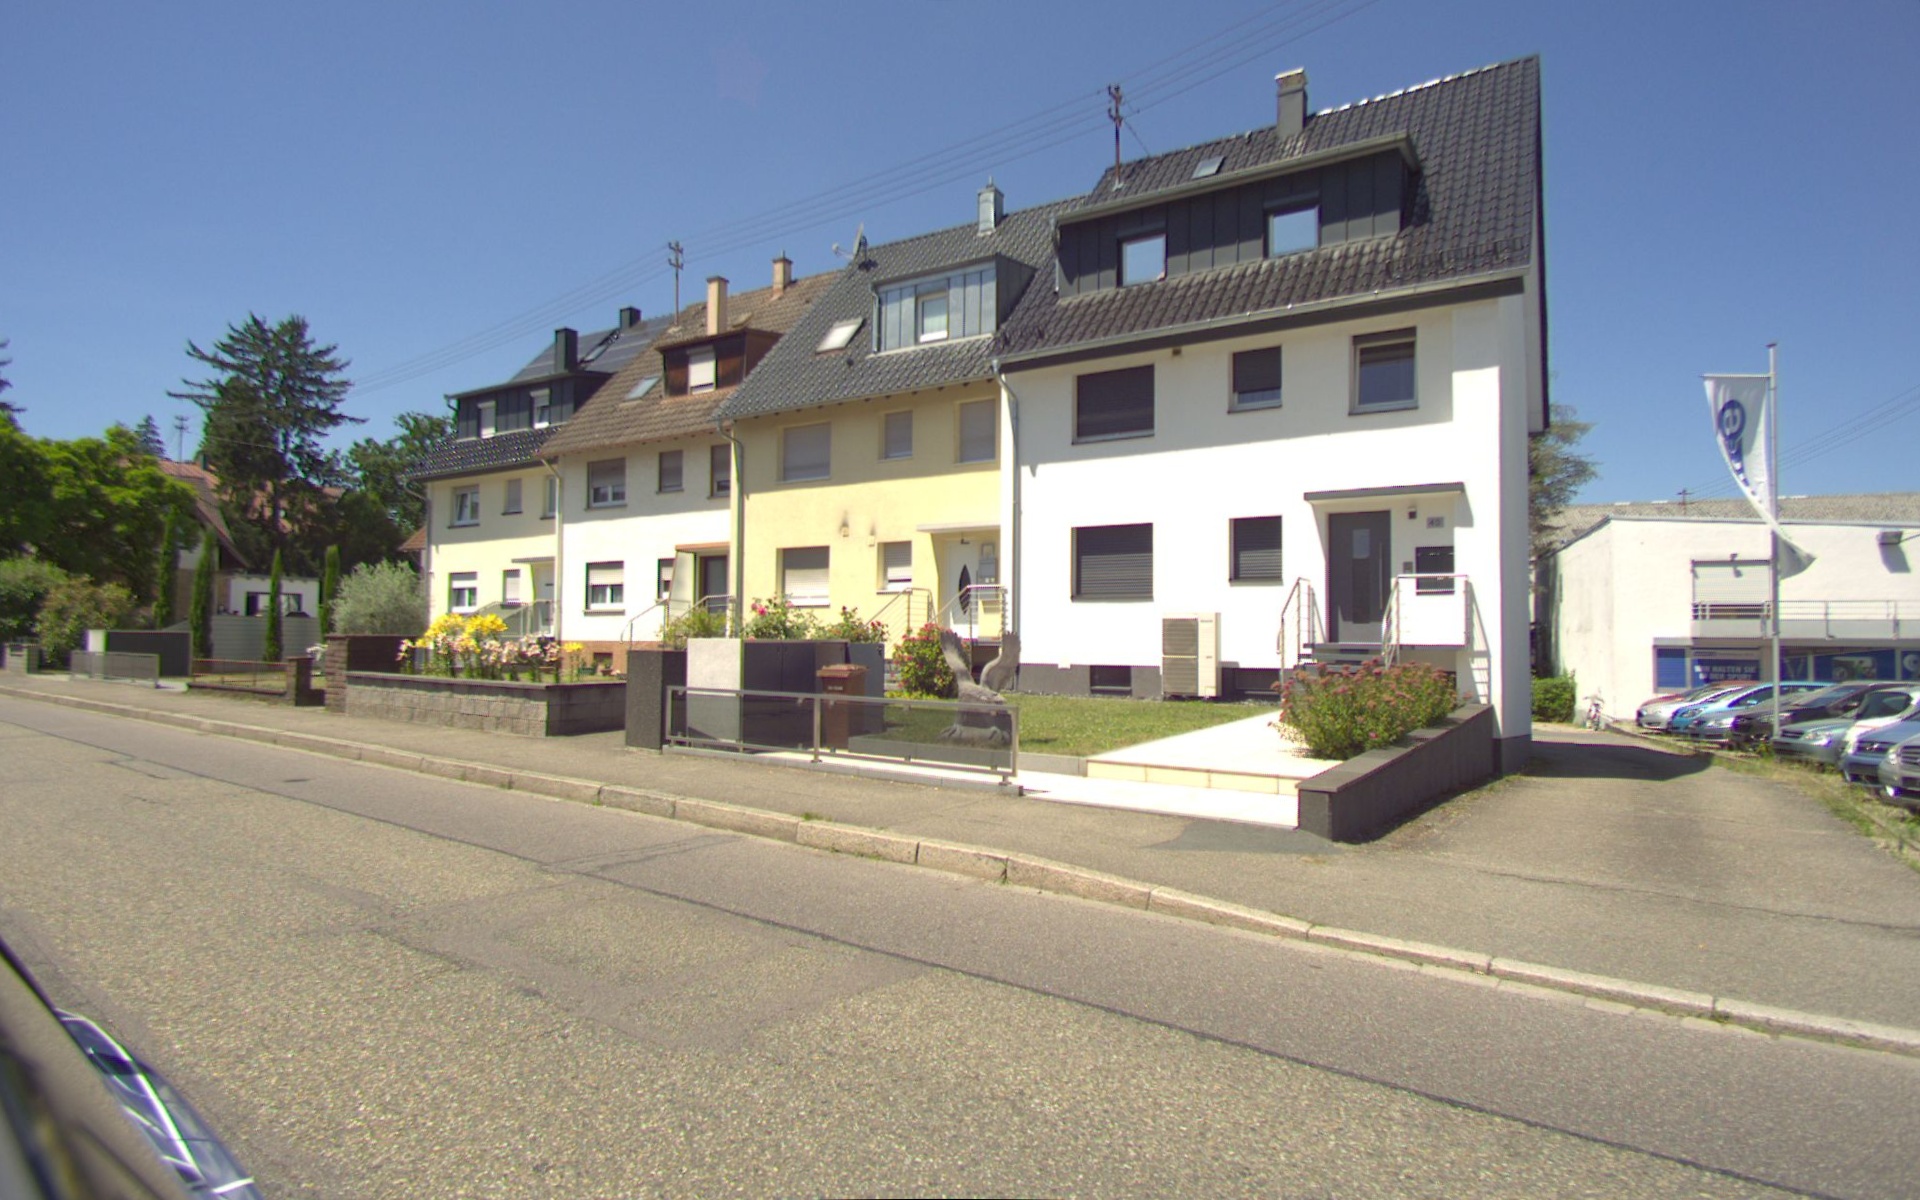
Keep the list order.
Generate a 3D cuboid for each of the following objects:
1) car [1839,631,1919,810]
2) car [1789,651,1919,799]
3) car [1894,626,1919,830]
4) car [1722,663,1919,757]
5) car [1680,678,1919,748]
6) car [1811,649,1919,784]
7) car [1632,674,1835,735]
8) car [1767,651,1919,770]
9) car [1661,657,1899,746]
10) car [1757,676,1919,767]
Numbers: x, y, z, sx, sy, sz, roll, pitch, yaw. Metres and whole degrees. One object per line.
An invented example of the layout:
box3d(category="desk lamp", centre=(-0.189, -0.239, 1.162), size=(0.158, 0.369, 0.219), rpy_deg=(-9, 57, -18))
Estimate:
box3d(category="car", centre=(11.347, 1.235, 9.784), size=(3.942, 1.741, 2.001), rpy_deg=(2, -4, -2))
box3d(category="car", centre=(12.592, 1.515, 11.938), size=(3.896, 1.637, 1.821), rpy_deg=(1, -5, 7))
box3d(category="car", centre=(9.908, 1.044, 7.576), size=(4.145, 1.657, 1.854), rpy_deg=(1, -4, -3))
box3d(category="car", centre=(17.950, 2.172, 20.098), size=(4.031, 1.710, 1.947), rpy_deg=(0, -4, 19))
box3d(category="car", centre=(18.968, 2.514, 22.838), size=(4.039, 1.418, 1.943), rpy_deg=(-3, -4, 25))
box3d(category="car", centre=(14.682, 1.626, 13.886), size=(4.139, 1.769, 1.819), rpy_deg=(0, -5, 10))
box3d(category="car", centre=(20.878, 2.785, 27.524), size=(4.039, 1.418, 1.751), rpy_deg=(-1, -2, 25))
box3d(category="car", centre=(15.628, 1.750, 15.890), size=(4.145, 1.769, 1.816), rpy_deg=(0, -5, 15))
box3d(category="car", centre=(20.321, 2.461, 25.354), size=(4.159, 1.941, 2.119), rpy_deg=(-1, -2, 24))
box3d(category="car", centre=(16.886, 2.121, 17.764), size=(4.030, 1.499, 1.948), rpy_deg=(-1, -5, 19))
